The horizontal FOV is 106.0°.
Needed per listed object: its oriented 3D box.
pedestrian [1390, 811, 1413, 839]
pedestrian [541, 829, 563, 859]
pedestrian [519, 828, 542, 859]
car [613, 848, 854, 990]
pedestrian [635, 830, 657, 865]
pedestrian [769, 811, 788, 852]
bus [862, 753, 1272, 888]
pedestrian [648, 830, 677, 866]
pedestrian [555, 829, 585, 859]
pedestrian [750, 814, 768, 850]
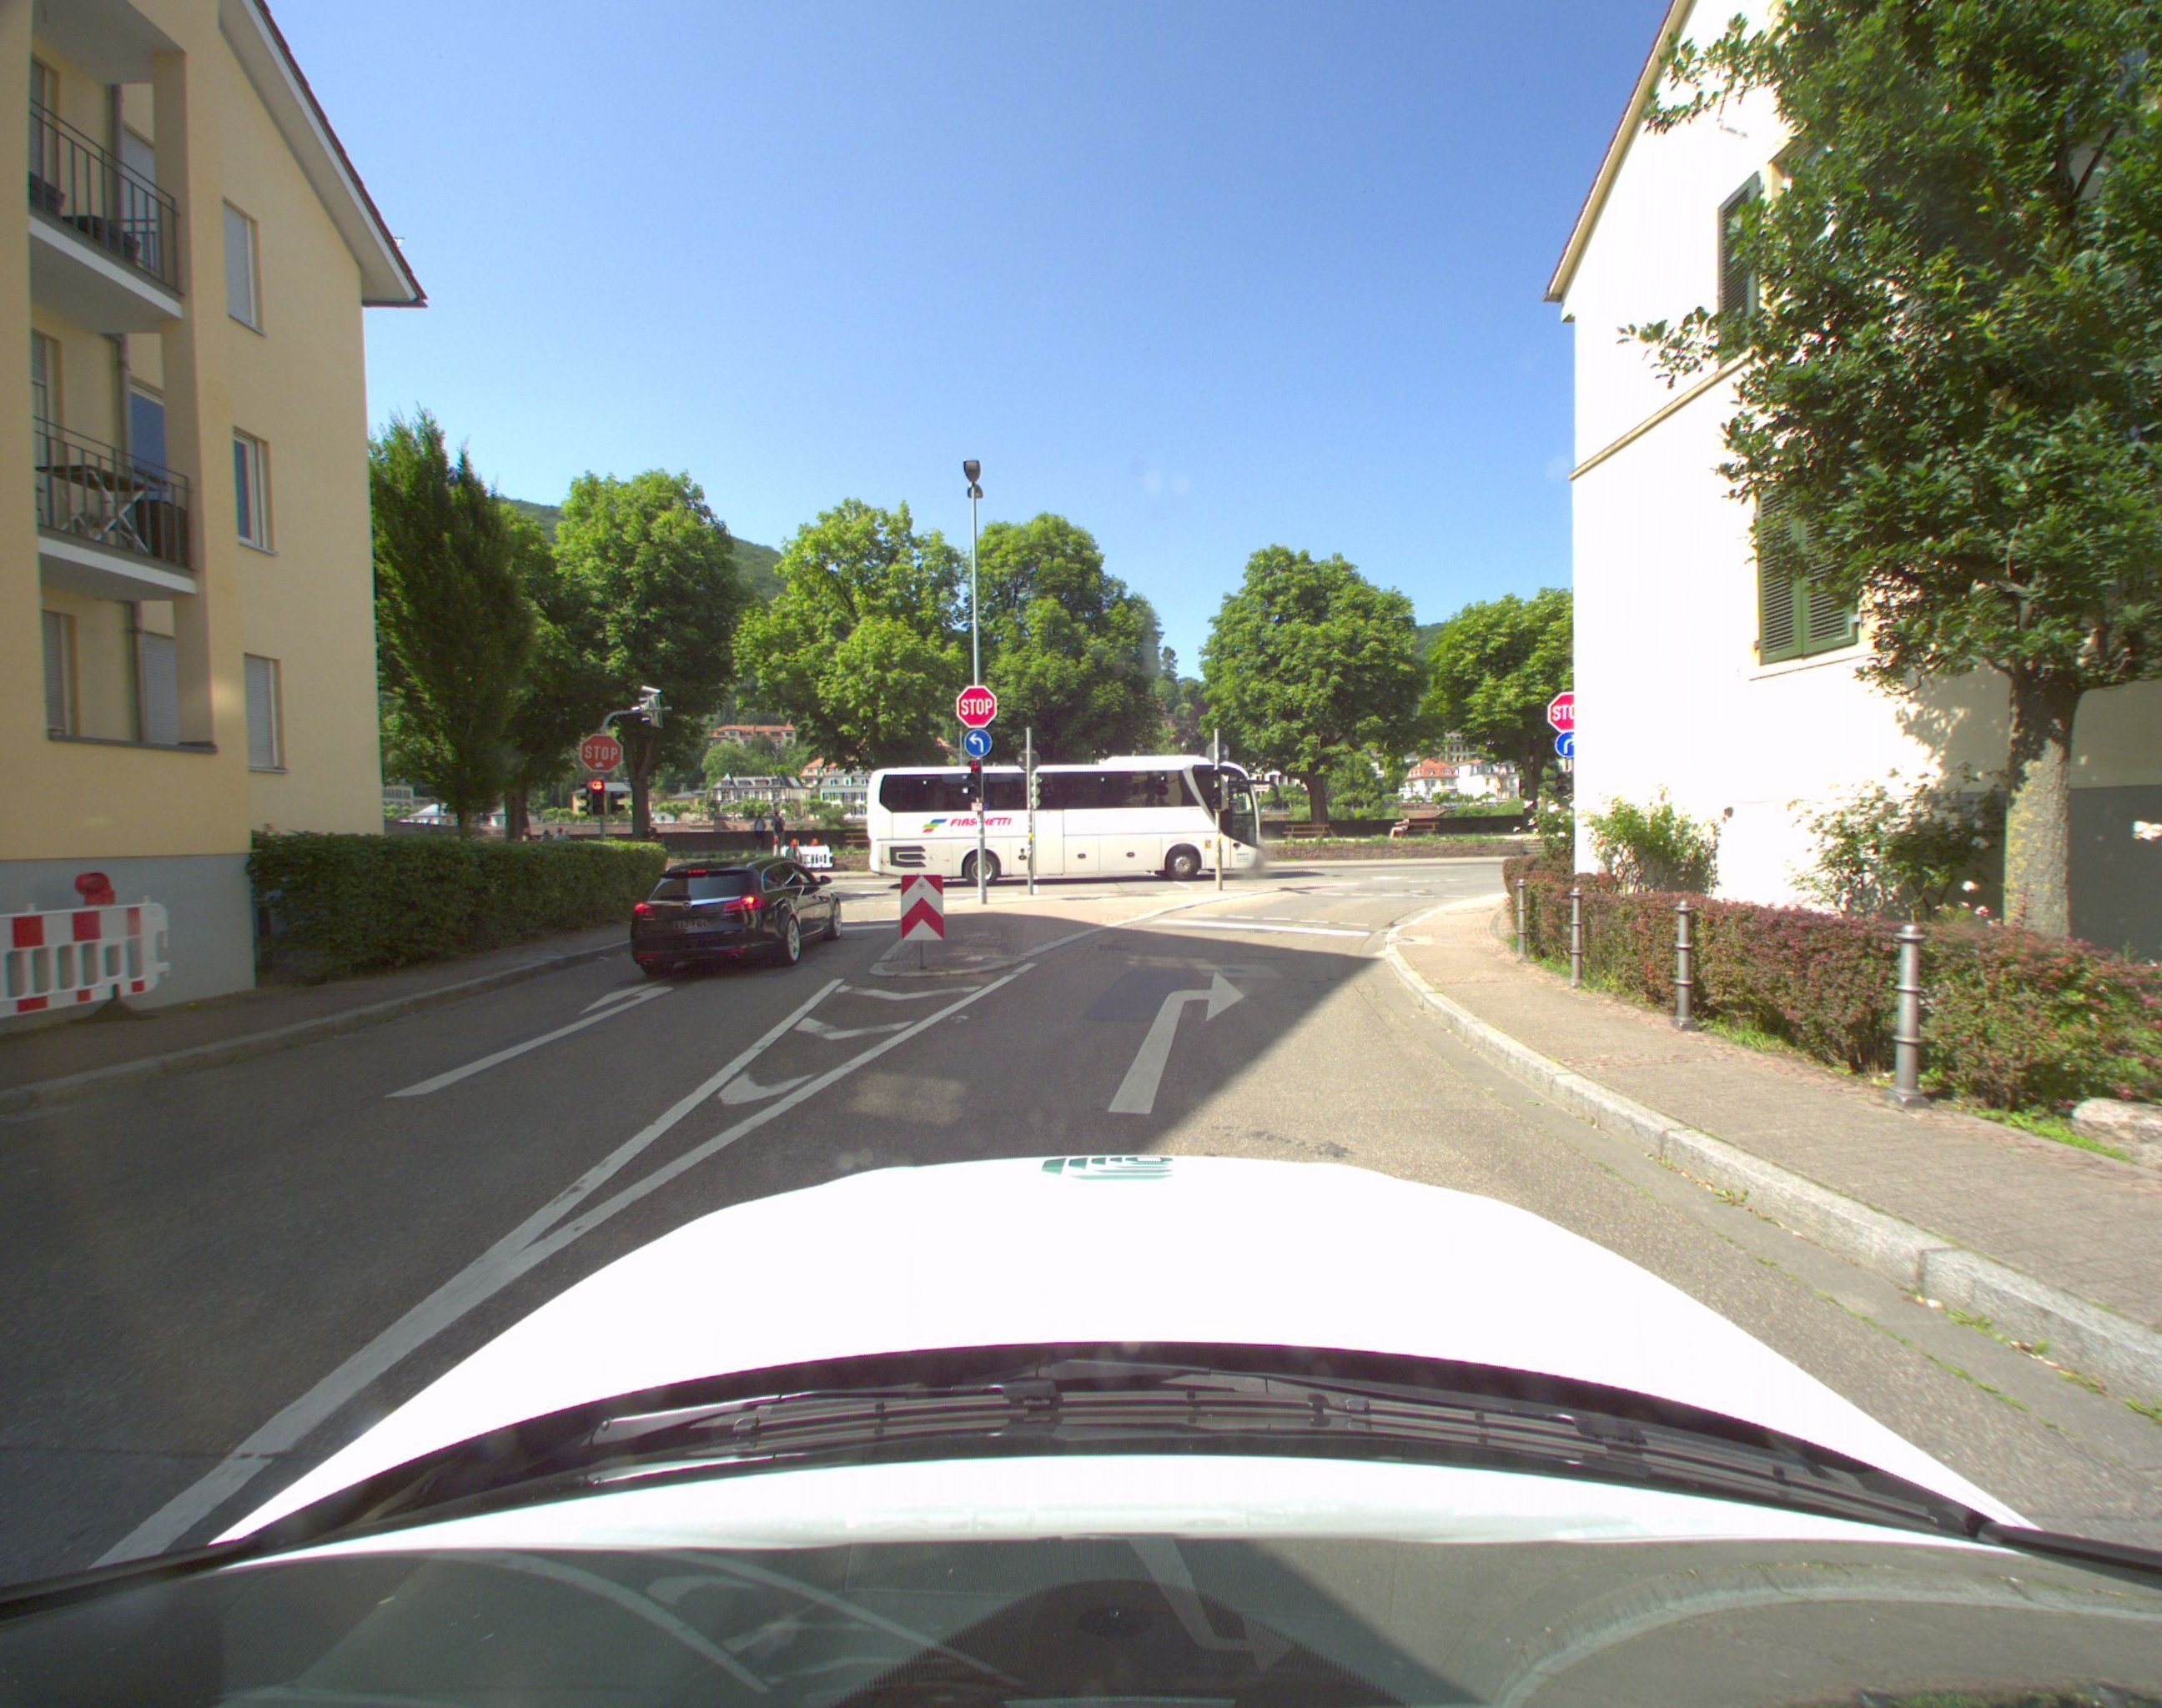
[{"bbox_3d":[14.819,-1.325,37.639,0.795,1.211,0.715,1,-2,-2],"label":"pedestrian"},{"bbox_3d":[-22.135,-0.421,34.091,0.465,1.270,0.631,-1,1,0],"label":"pedestrian"},{"bbox_3d":[-23.016,-0.428,34.065,0.465,1.270,0.631,-1,1,0],"label":"pedestrian"},{"bbox_3d":[-4.646,0.730,11.748,1.711,1.462,4.717,-3,1,-5],"label":"car"},{"bbox_3d":[-18.353,-0.280,34.388,0.465,1.493,0.804,-1,1,0],"label":"pedestrian"},{"bbox_3d":[-13.826,-1.011,37.219,0.765,1.857,0.751,-1,0,-22],"label":"pedestrian"},{"bbox_3d":[-0.384,-1.070,25.549,12.125,3.787,2.901,-1,1,-7],"label":"bus"},{"bbox_3d":[-17.813,-0.276,34.660,0.465,1.479,1.385,-1,1,0],"label":"pedestrian"},{"bbox_3d":[-21.594,-0.426,34.424,0.465,1.270,1.224,-1,1,0],"label":"pedestrian"},{"bbox_3d":[-15.836,-1.064,40.017,0.709,1.731,0.753,-1,0,-15],"label":"pedestrian"}]
